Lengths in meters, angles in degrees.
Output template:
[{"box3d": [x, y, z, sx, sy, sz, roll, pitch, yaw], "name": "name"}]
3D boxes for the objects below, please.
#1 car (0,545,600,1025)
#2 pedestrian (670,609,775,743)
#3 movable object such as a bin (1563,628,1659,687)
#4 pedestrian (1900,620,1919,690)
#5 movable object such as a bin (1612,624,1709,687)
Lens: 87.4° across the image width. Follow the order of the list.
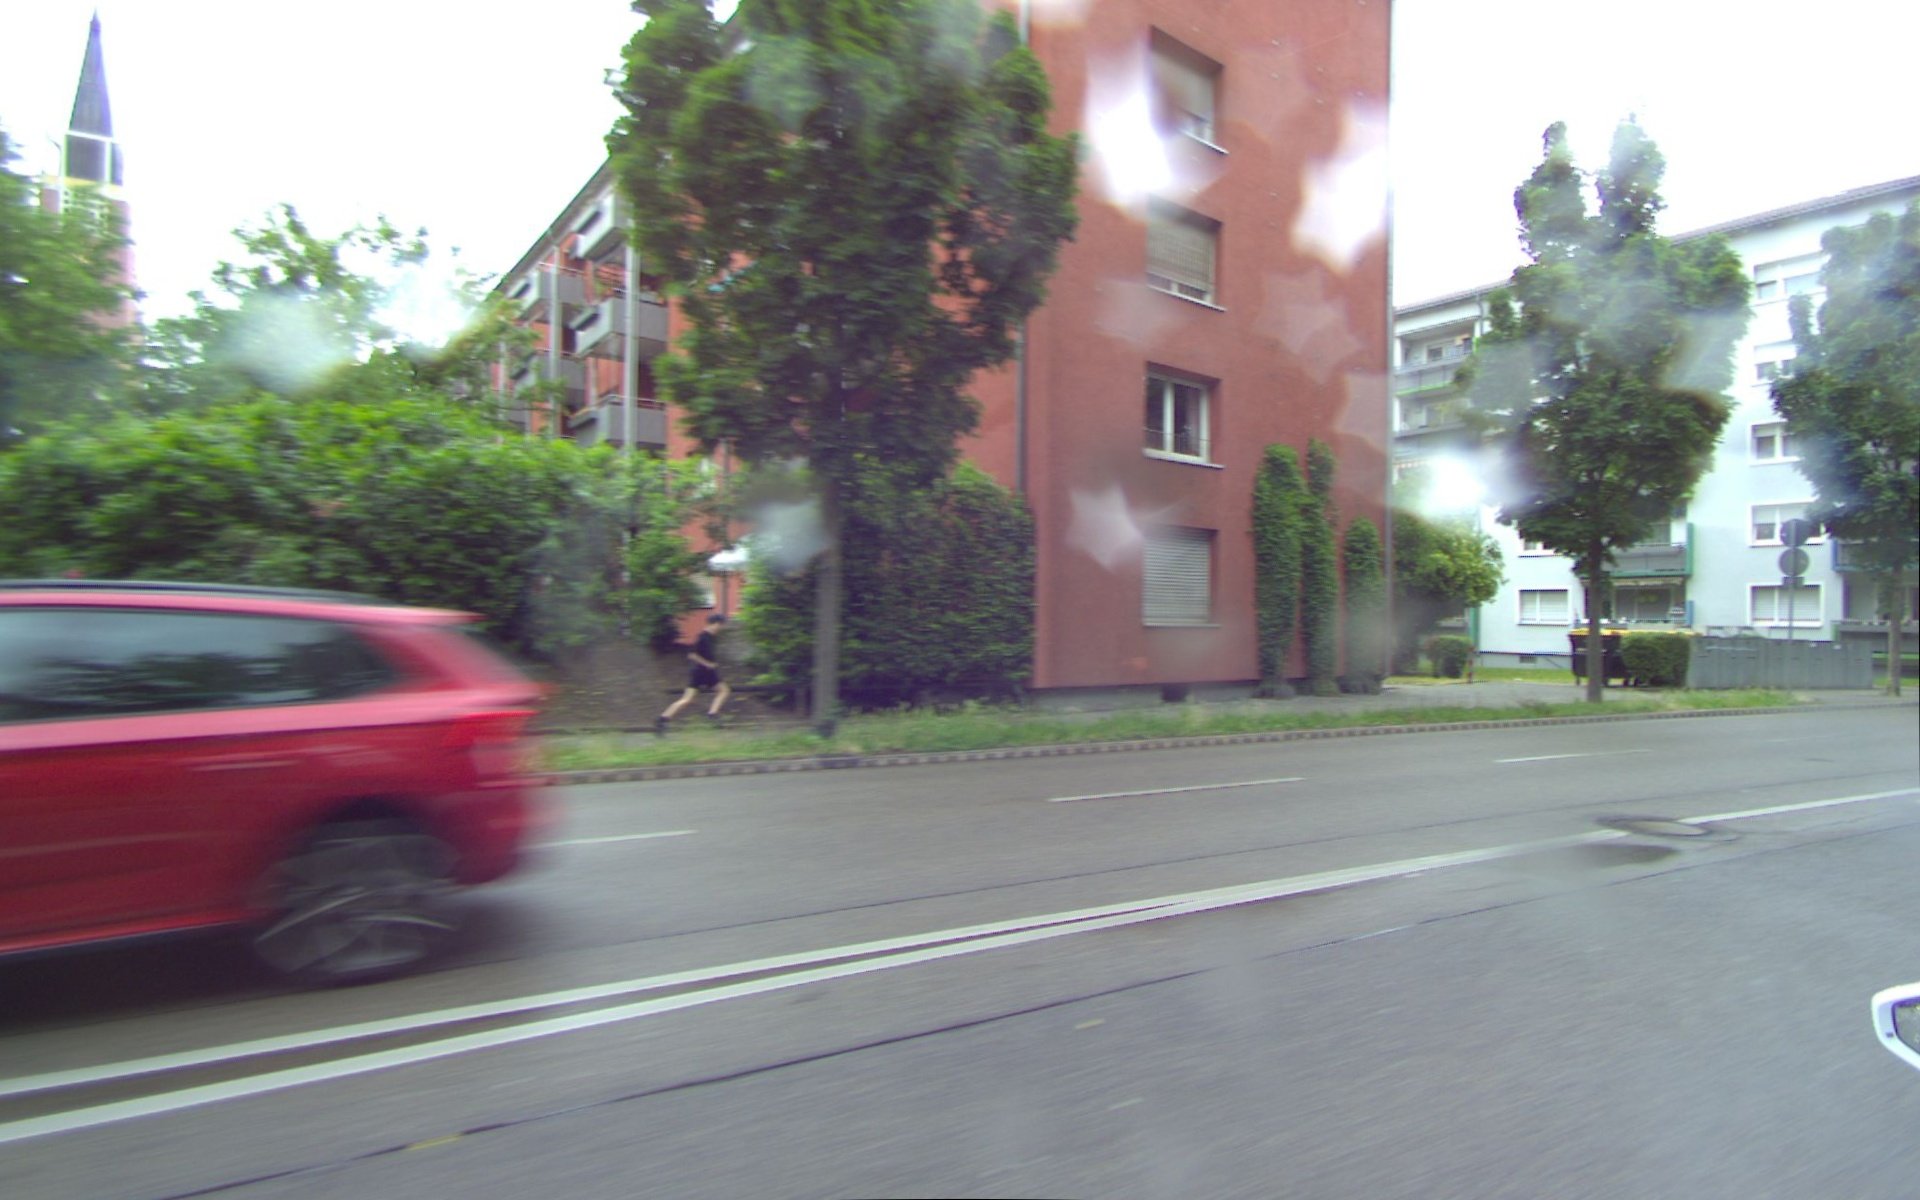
[{"box3d": [-3.708, 0.613, 3.969, 4.092, 1.583, 1.668, 1, -1, -29], "name": "car"}, {"box3d": [-2.859, 0.885, 12.083, 1.057, 1.537, 0.689, 1, -1, -31], "name": "pedestrian"}, {"box3d": [15.613, 1.359, 24.094, 1.941, 1.349, 1.153, 1, -1, -28], "name": "movable object such as a bin"}, {"box3d": [25.575, 1.434, 26.223, 1.246, 1.828, 1.131, 1, -1, -25], "name": "pedestrian"}, {"box3d": [17.509, 1.374, 25.111, 2.061, 1.504, 1.210, 1, -1, -28], "name": "movable object such as a bin"}]
